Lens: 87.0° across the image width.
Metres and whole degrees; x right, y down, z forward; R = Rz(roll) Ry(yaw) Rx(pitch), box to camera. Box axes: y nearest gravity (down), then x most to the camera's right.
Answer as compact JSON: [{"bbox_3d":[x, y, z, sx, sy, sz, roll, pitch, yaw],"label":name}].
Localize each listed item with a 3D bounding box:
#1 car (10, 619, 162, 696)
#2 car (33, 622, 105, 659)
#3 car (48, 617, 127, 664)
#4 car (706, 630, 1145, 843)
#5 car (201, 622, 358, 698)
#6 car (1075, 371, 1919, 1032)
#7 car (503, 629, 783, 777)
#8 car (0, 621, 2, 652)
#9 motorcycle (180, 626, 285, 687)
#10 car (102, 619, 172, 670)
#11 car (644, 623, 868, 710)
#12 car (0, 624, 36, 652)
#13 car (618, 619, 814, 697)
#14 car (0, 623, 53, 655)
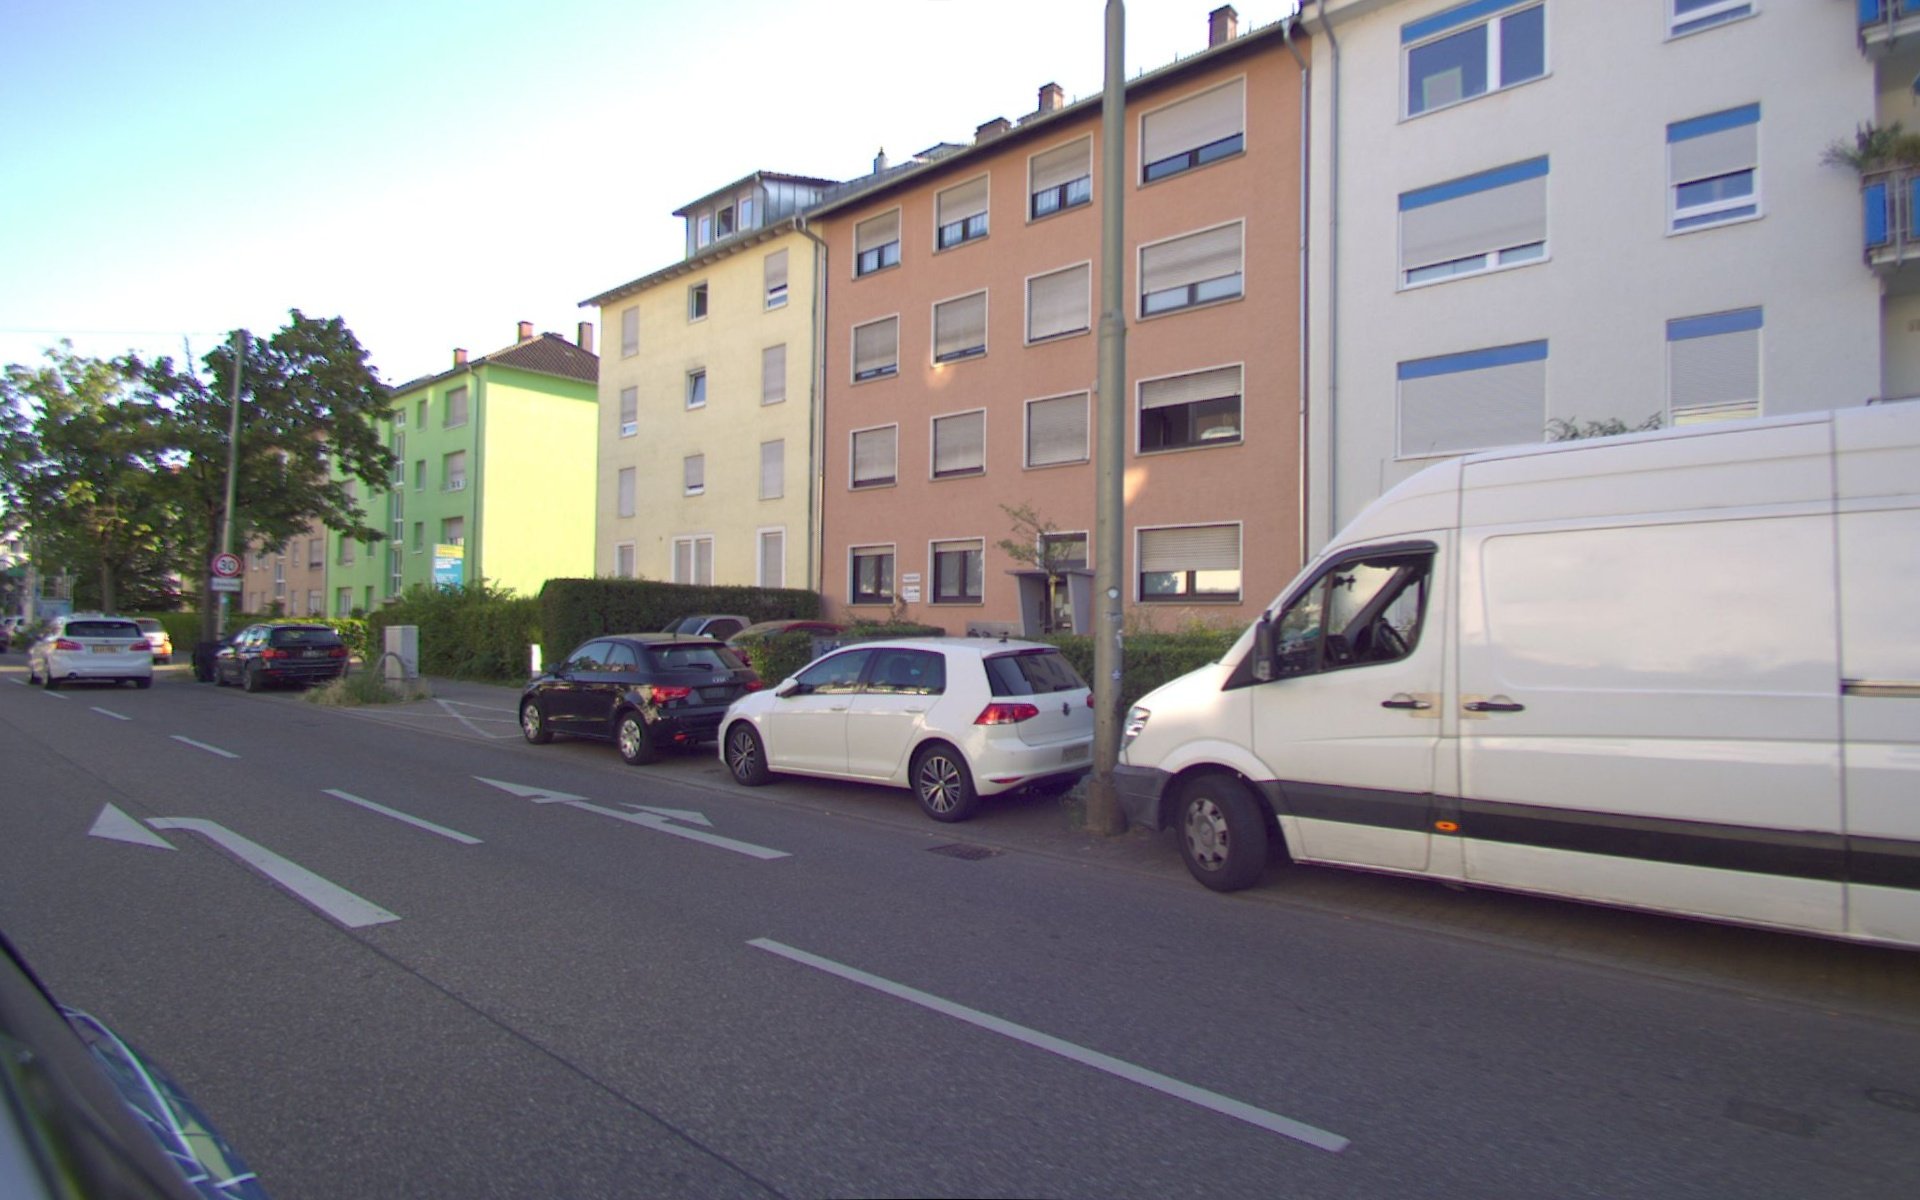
[{"bbox_3d":[-19.504,1.242,22.539,4.263,1.555,1.860,-1,-4,40],"label":"car"},{"bbox_3d":[-37.961,1.694,43.074,4.188,1.533,1.665,-1,-2,40],"label":"car"},{"bbox_3d":[-34.432,1.564,39.903,4.616,1.746,1.764,-1,-3,42],"label":"car"},{"bbox_3d":[-0.479,1.071,9.495,4.057,1.503,1.688,-1,0,42],"label":"car"},{"bbox_3d":[-15.176,1.261,22.476,4.586,1.516,1.760,-1,-2,41],"label":"car"},{"bbox_3d":[4.071,0.421,5.145,7.102,2.636,1.972,-1,-2,42],"label":"car"},{"bbox_3d":[-3.992,1.128,12.432,3.812,1.484,1.594,-1,-1,43],"label":"car"},{"bbox_3d":[-41.920,1.625,42.907,4.295,1.482,1.681,-1,-4,44],"label":"car"},{"bbox_3d":[-18.044,1.367,25.166,0.980,1.399,2.022,0,0,9],"label":"motorcycle"},{"bbox_3d":[-27.593,1.466,33.925,2.862,1.629,1.482,-1,-2,45],"label":"car"},{"bbox_3d":[-3.889,1.205,19.775,1.915,1.423,3.945,-1,-1,41],"label":"car"},{"bbox_3d":[-52.572,2.094,56.094,3.943,1.490,1.635,-1,-3,43],"label":"car"},{"bbox_3d":[-5.211,1.186,21.988,1.629,1.540,3.945,-1,-2,41],"label":"car"},{"bbox_3d":[-48.824,2.014,52.782,3.782,1.564,1.621,-1,-2,39],"label":"car"}]
